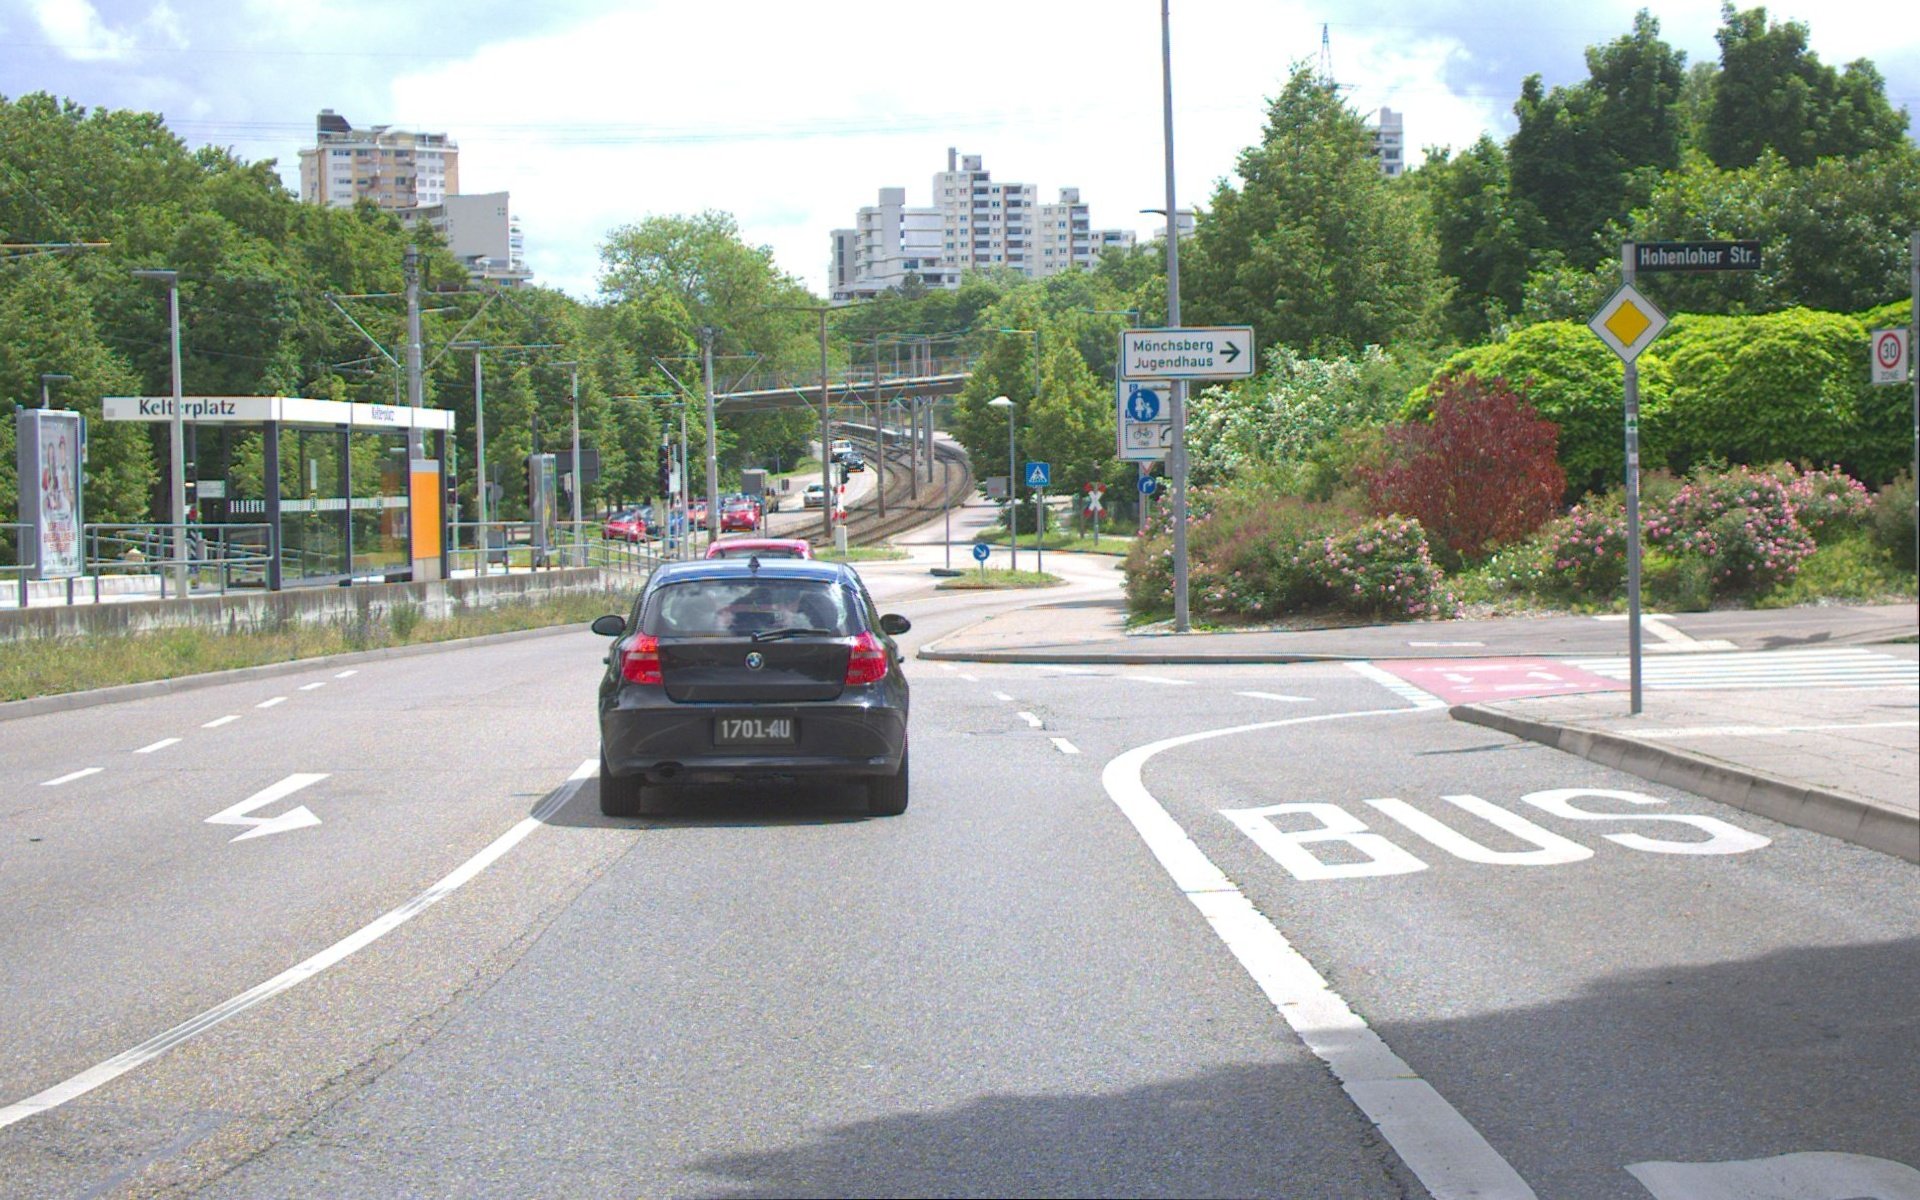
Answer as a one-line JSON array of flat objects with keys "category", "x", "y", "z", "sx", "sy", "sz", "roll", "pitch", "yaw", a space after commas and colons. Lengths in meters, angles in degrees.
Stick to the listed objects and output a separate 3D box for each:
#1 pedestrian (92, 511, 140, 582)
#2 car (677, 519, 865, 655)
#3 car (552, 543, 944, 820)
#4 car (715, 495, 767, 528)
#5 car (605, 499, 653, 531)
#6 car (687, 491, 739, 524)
[{"category": "pedestrian", "x": -23.965, "y": -1.523, "z": 97.591, "sx": 0.961, "sy": 2.006, "sz": 0.821, "roll": 0, "pitch": 3, "yaw": 23}, {"category": "car", "x": -2.113, "y": -0.179, "z": 39.319, "sx": 1.766, "sy": 1.427, "sz": 3.479, "roll": -2, "pitch": 1, "yaw": 3}, {"category": "car", "x": -1.140, "y": 0.408, "z": 20.247, "sx": 1.815, "sy": 1.416, "sz": 4.000, "roll": -2, "pitch": 1, "yaw": 3}, {"category": "car", "x": -10.664, "y": -4.325, "z": 167.871, "sx": 1.720, "sy": 1.497, "sz": 2.965, "roll": 0, "pitch": 2, "yaw": 13}, {"category": "car", "x": -14.746, "y": -3.791, "z": 153.363, "sx": 1.528, "sy": 1.366, "sz": 3.597, "roll": -1, "pitch": 2, "yaw": 4}, {"category": "car", "x": -12.515, "y": -4.713, "z": 174.460, "sx": 1.913, "sy": 1.555, "sz": 3.999, "roll": -1, "pitch": 2, "yaw": 7}]
